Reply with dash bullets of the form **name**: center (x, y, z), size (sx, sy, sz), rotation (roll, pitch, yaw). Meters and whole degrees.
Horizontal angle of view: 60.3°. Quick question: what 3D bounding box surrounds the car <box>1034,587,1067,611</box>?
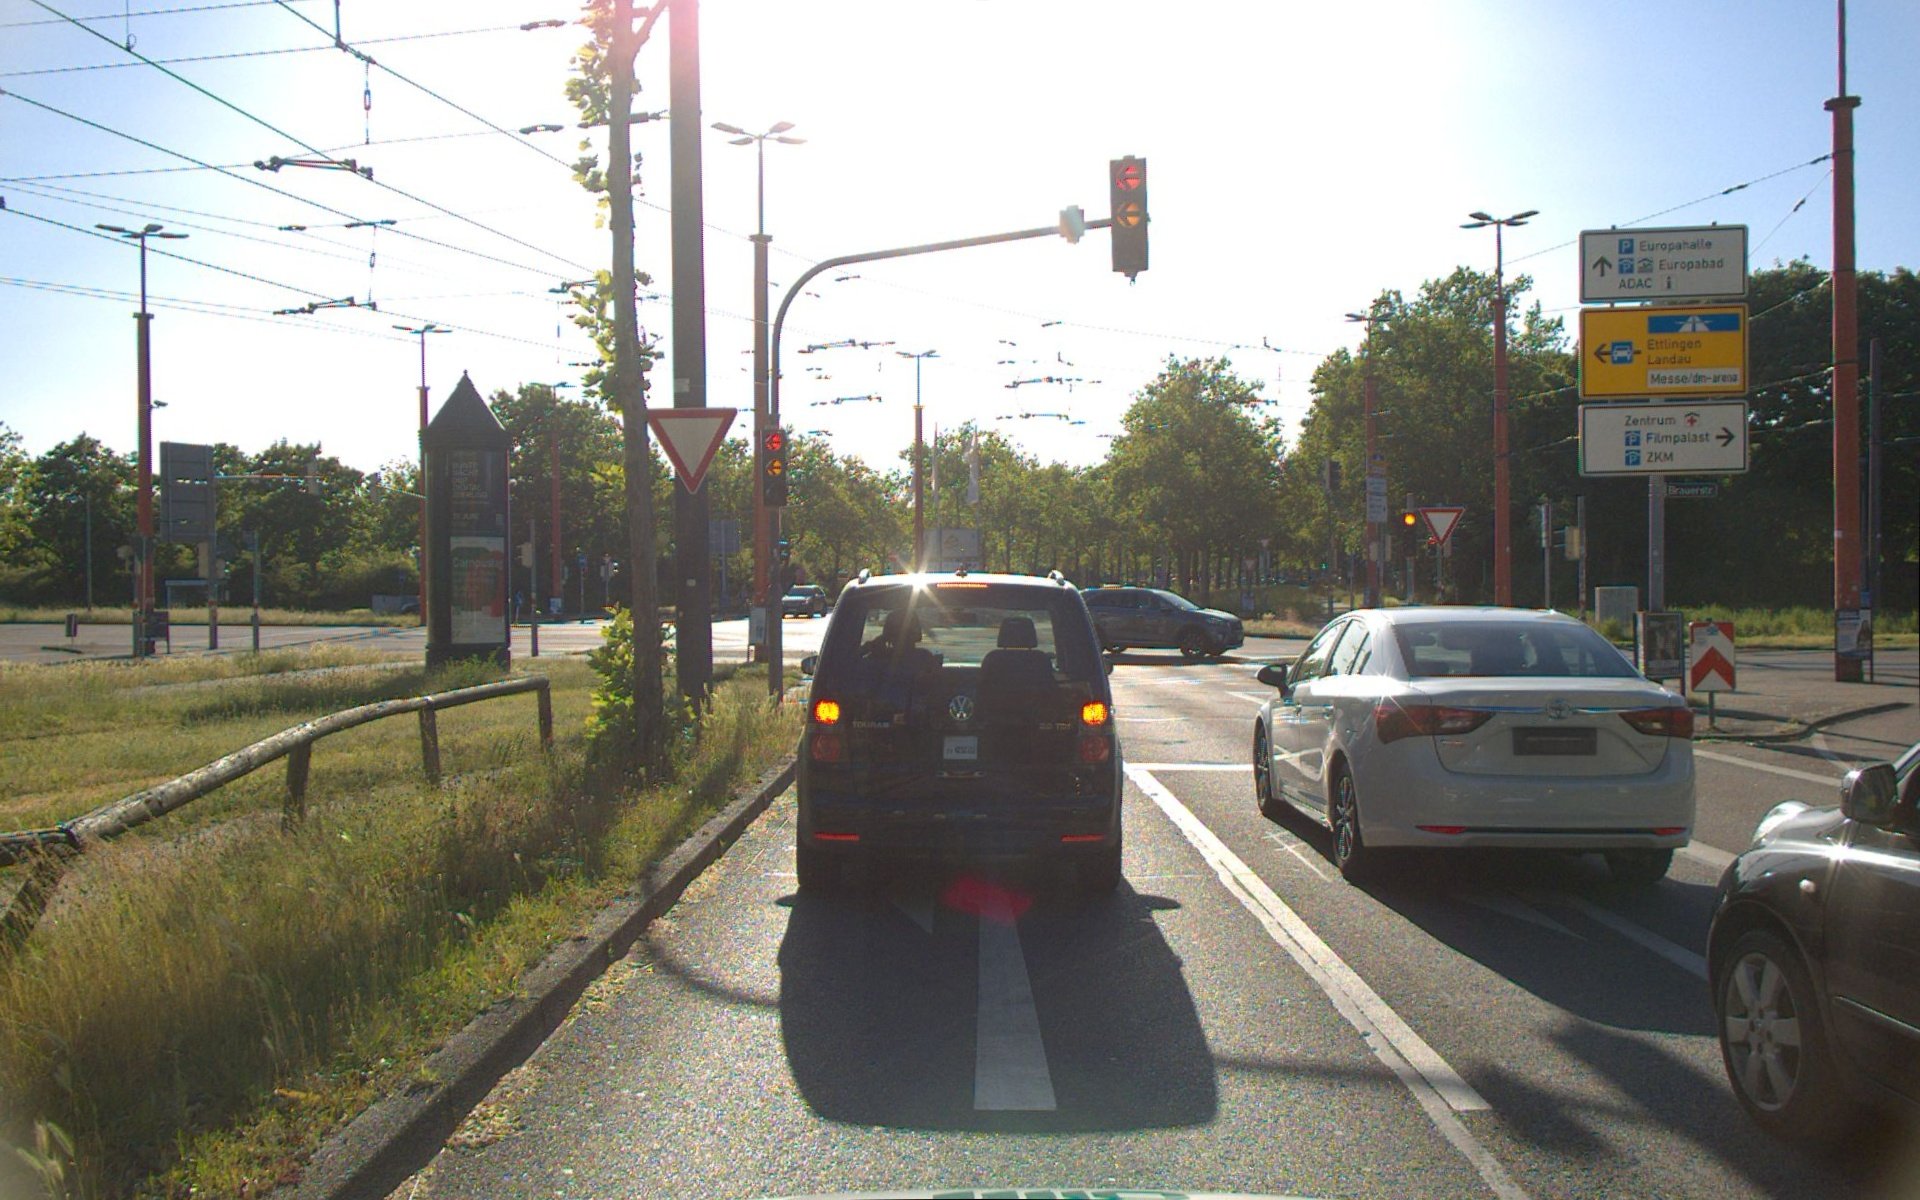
- **car**: center (5.649, -0.078, 102.932), size (1.752, 1.412, 4.053), rotation (1, 1, 7)

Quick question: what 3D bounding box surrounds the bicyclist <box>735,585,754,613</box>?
- **bicyclist**: center (-12.267, -0.070, 94.118), size (0.743, 1.585, 0.982), rotation (-1, 1, 17)

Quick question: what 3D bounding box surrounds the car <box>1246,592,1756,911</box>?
- **car**: center (2.963, 0.716, 10.083), size (1.731, 1.489, 4.367), rotation (0, 1, 1)

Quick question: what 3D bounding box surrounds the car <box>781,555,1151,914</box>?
- **car**: center (0.013, 0.604, 10.229), size (1.731, 1.672, 4.923), rotation (0, 1, 0)

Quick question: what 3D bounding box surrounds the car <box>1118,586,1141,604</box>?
- **car**: center (14.441, -0.439, 141.109), size (1.752, 1.412, 4.052), rotation (1, 1, 3)

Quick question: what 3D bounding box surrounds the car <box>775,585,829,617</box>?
- **car**: center (-8.879, 0.028, 93.443), size (1.861, 1.756, 4.658), rotation (0, 1, 10)

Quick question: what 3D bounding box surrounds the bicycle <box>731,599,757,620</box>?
- **bicycle**: center (-12.277, 0.528, 94.046), size (0.747, 1.110, 2.017), rotation (-1, 1, 16)

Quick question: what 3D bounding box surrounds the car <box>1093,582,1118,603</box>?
- **car**: center (10.768, -0.555, 122.471), size (1.752, 1.528, 4.052), rotation (1, 1, 4)

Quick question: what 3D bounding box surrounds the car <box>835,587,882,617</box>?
- **car**: center (-5.572, 0.097, 91.318), size (1.730, 1.565, 4.095), rotation (0, 1, 9)

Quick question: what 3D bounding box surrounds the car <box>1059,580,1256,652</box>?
- **car**: center (5.008, 0.391, 42.047), size (4.586, 1.734, 1.998), rotation (0, 0, 27)

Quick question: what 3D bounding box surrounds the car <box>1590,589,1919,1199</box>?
- **car**: center (3.212, 0.739, 3.845), size (1.699, 1.508, 4.622), rotation (0, 1, -1)
